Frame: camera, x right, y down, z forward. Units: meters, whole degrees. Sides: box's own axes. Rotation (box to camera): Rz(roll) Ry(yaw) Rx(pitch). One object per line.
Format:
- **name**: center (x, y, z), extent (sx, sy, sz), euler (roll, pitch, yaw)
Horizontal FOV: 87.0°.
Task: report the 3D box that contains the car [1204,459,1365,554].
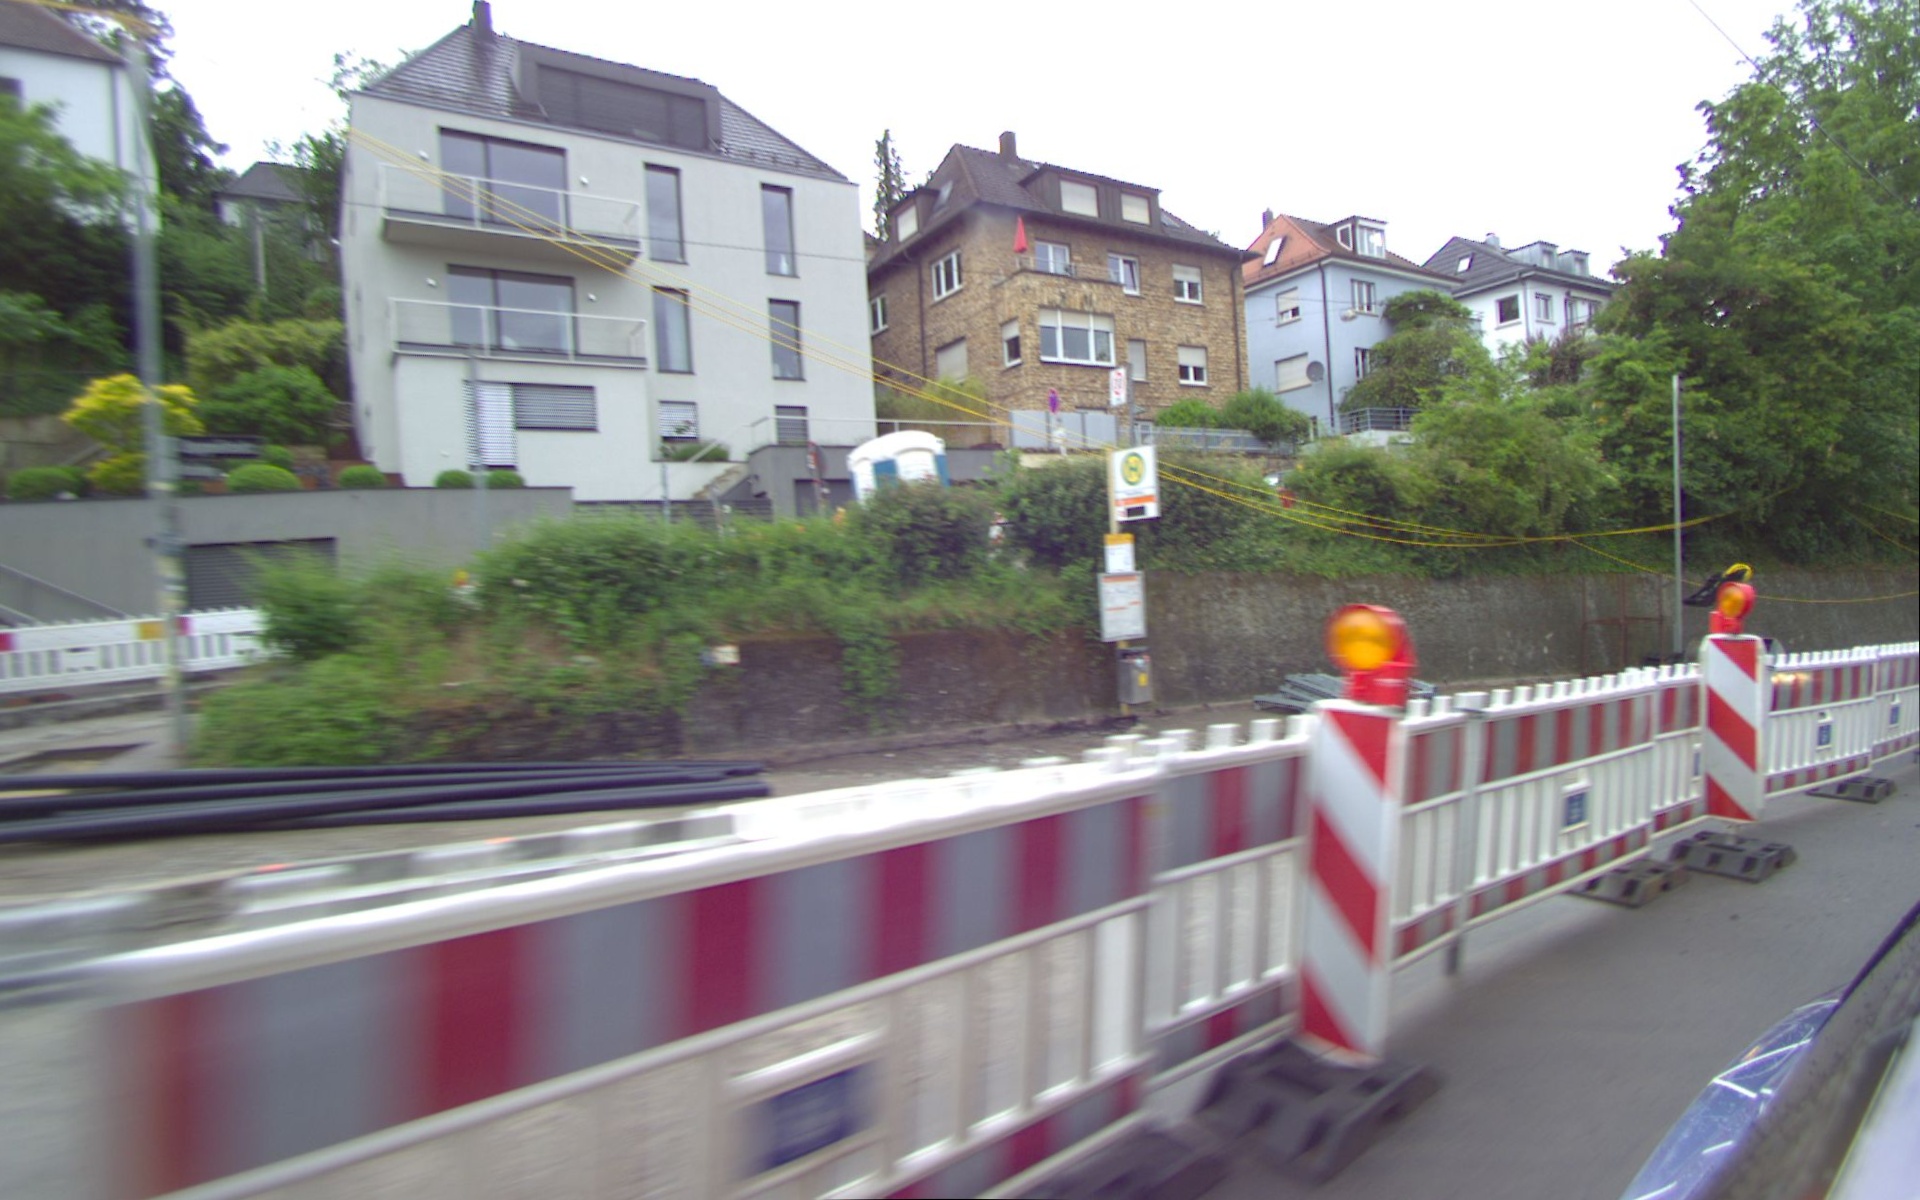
- **car**: center (9.317, -2.688, 28.938), extent (4.351, 2.101, 1.902), euler (-11, 6, -32)
